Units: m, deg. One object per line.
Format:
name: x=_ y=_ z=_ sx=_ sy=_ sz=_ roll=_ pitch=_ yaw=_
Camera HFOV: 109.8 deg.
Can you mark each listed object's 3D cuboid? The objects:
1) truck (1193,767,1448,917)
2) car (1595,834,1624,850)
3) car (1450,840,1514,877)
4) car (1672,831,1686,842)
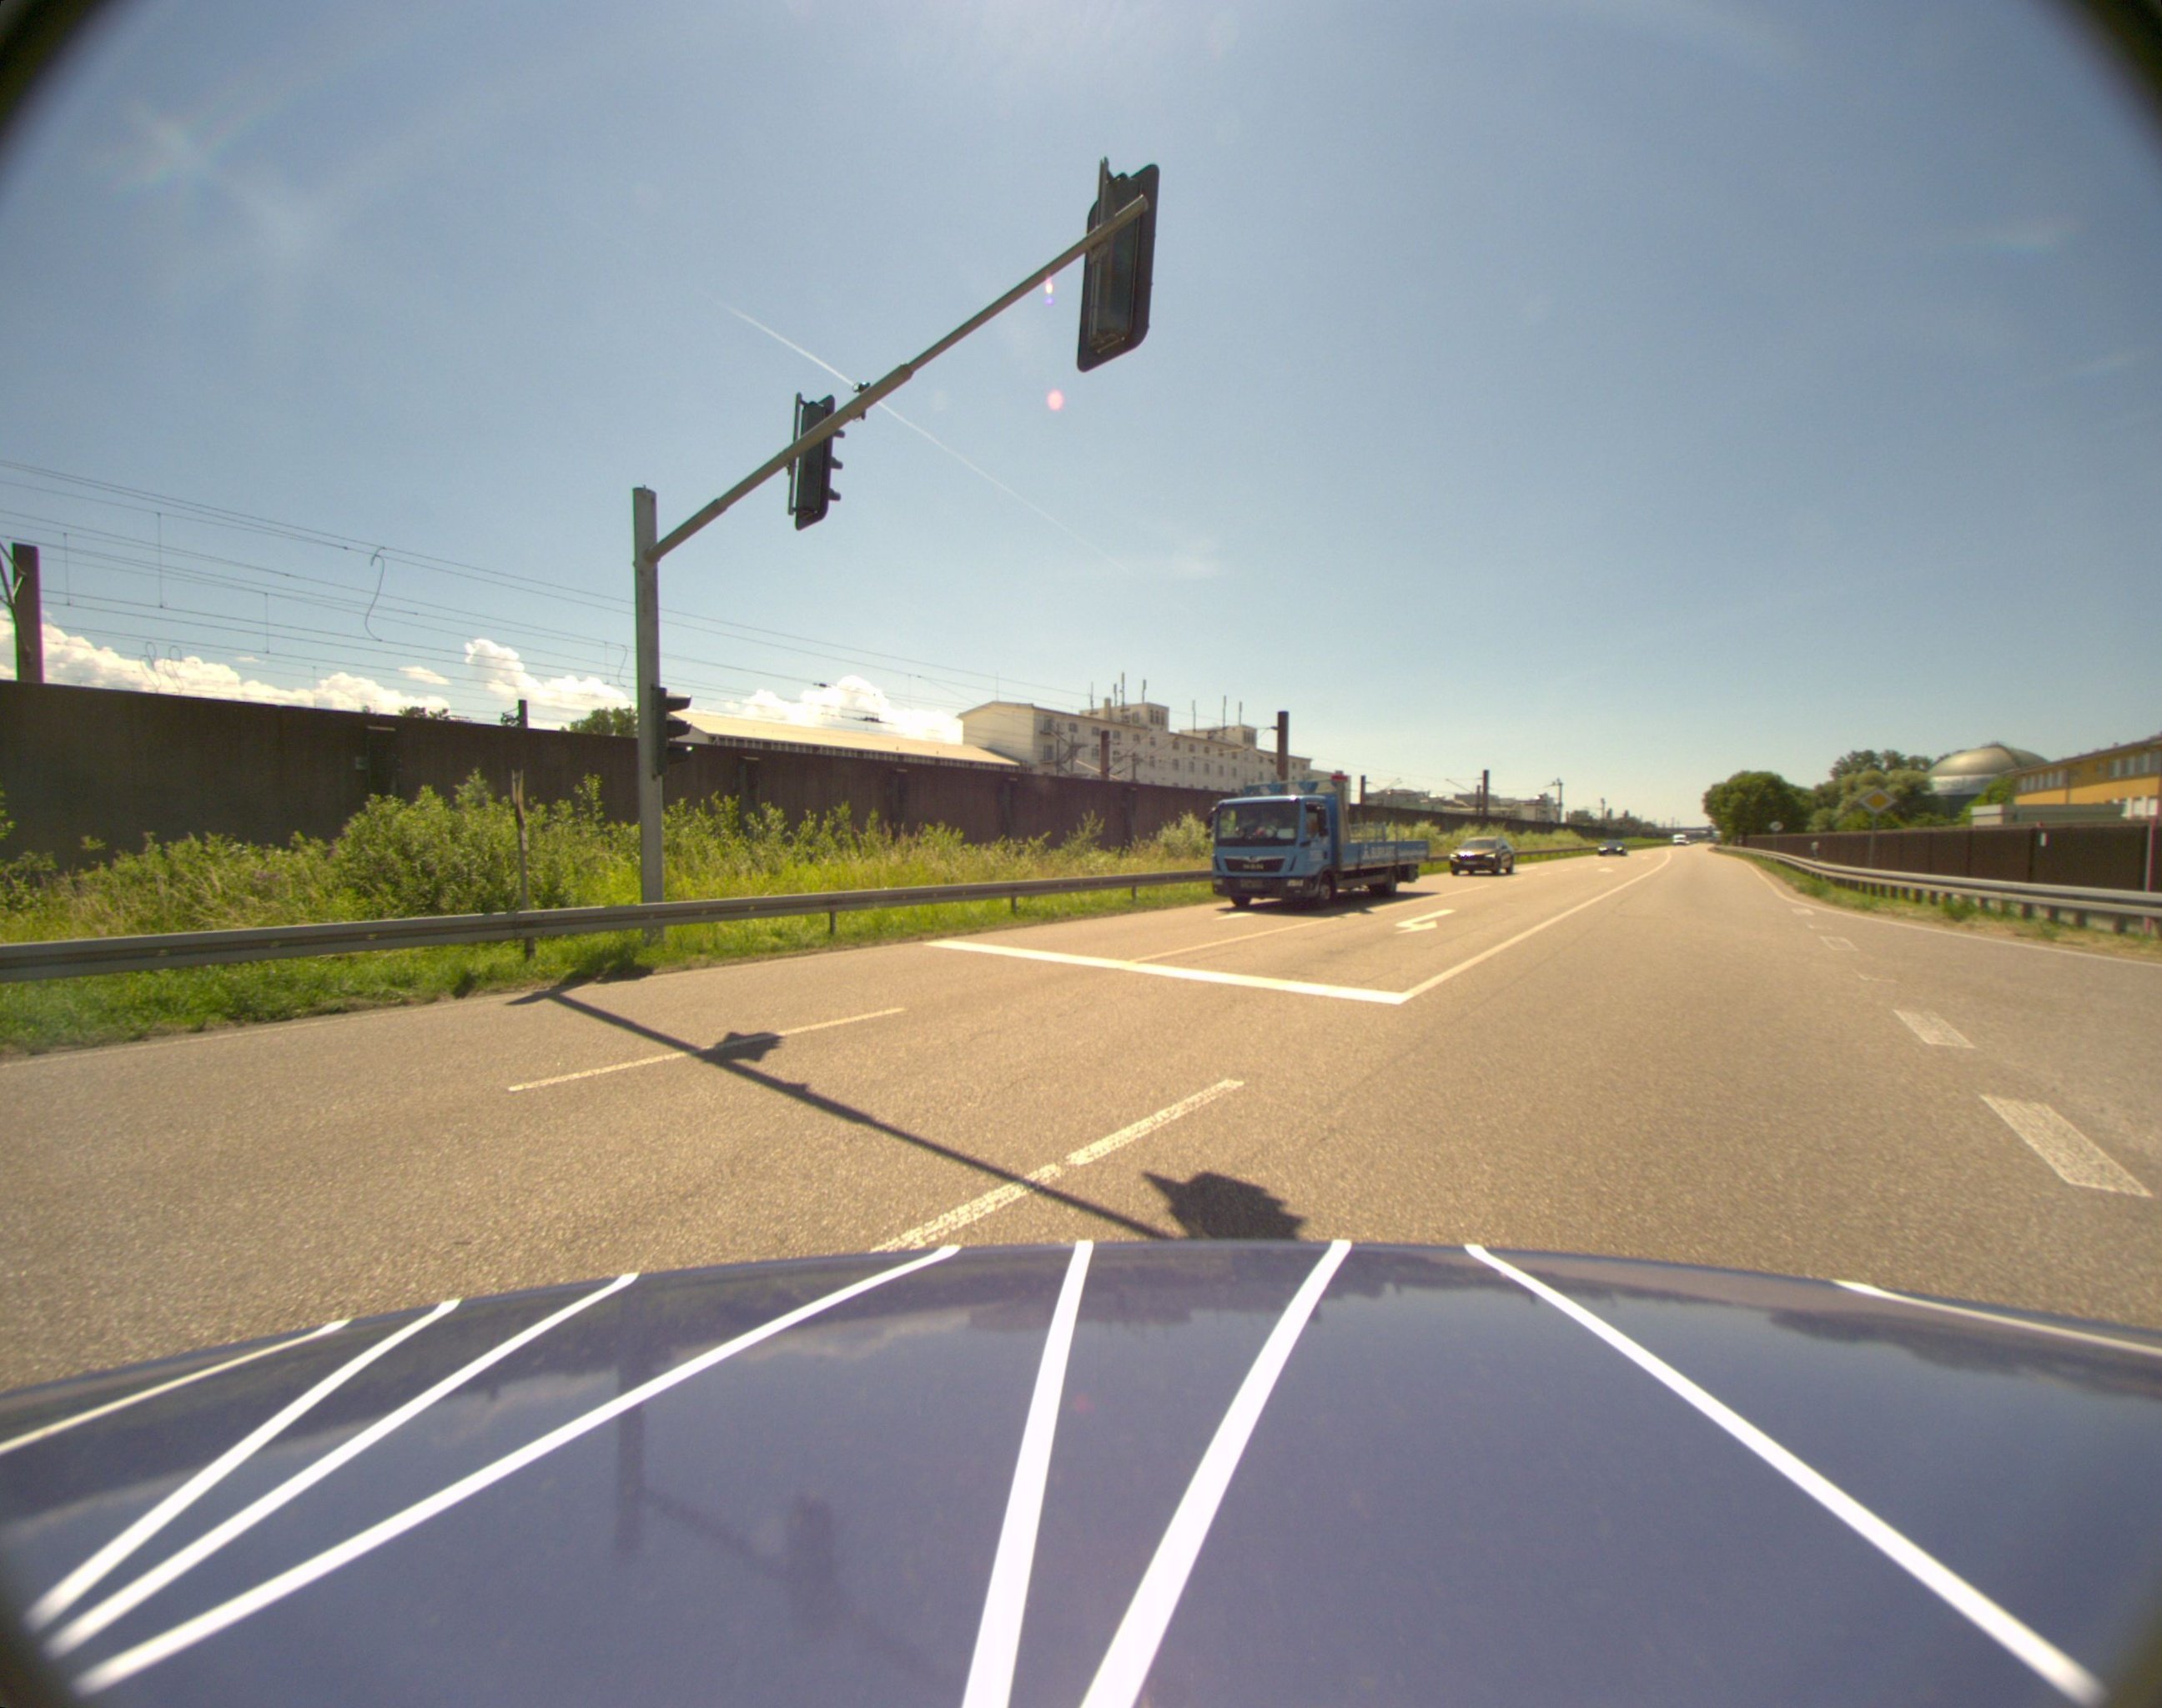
truck: x=6.896 y=-0.378 z=20.183 sx=2.611 sy=3.024 sz=10.677 roll=1 pitch=2 yaw=40
car: x=47.945 y=-1.117 z=68.861 sx=1.726 sy=1.465 sz=3.897 roll=1 pitch=2 yaw=41
car: x=17.502 y=0.125 z=33.059 sx=1.726 sy=1.465 sz=4.184 roll=1 pitch=2 yaw=38
car: x=130.144 y=-3.818 z=165.440 sx=2.200 sy=2.545 sz=5.234 roll=1 pitch=2 yaw=40
